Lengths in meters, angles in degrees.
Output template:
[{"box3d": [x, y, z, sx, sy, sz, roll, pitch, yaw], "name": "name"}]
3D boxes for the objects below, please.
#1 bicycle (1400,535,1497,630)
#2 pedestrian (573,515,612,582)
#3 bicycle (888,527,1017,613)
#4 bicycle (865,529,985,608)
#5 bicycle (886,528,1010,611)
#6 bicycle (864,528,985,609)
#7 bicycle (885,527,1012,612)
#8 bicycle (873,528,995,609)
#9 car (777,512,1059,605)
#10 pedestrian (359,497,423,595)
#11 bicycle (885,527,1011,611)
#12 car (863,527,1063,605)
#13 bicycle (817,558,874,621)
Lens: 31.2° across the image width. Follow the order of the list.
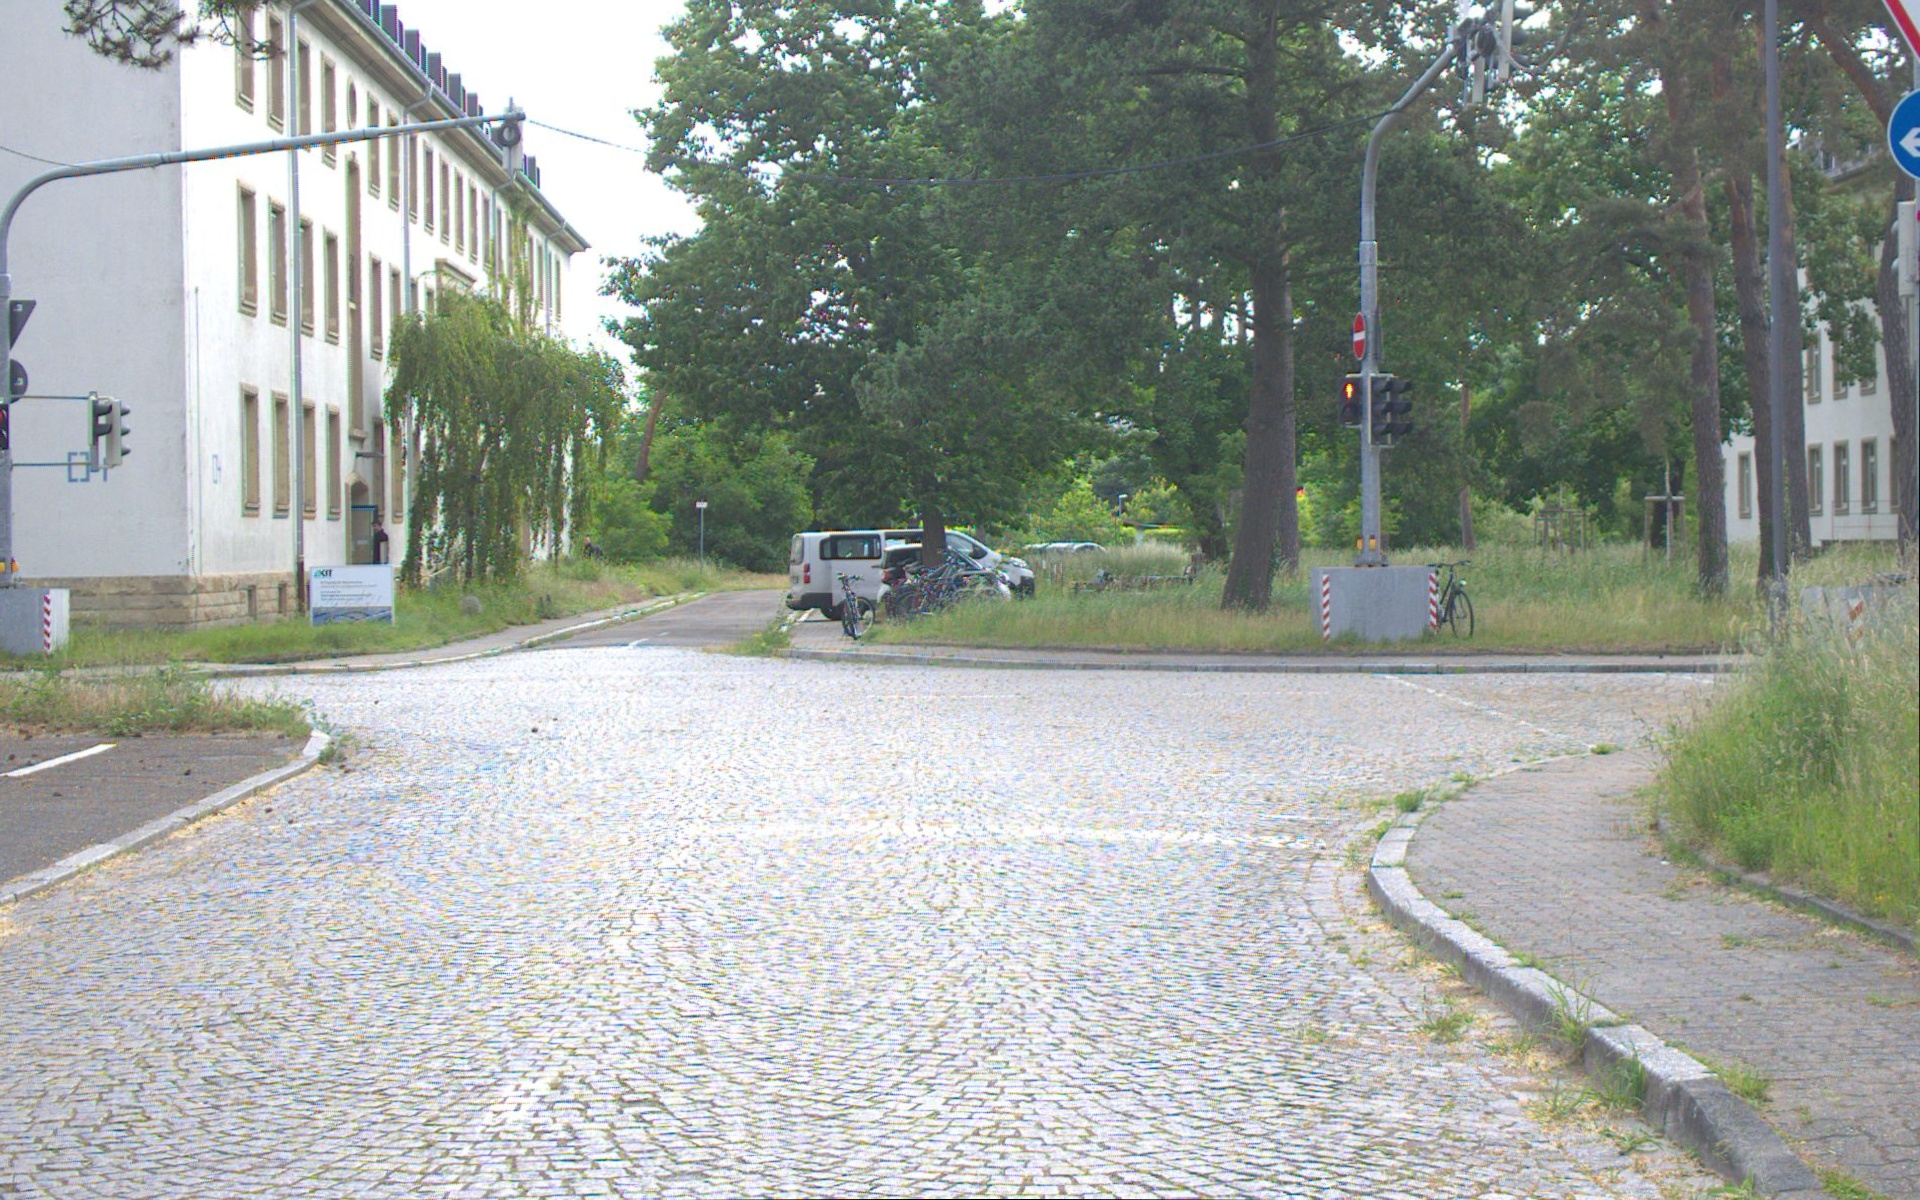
[{"box3d": [6.183, -0.237, 43.630, 0.908, 1.173, 1.874, 0, 1, -2], "name": "bicycle"}, {"box3d": [-11.017, -1.543, 103.020, 0.959, 2.007, 0.795, 0, 1, 9], "name": "pedestrian"}, {"box3d": [-0.127, -0.494, 55.859, 2.070, 1.373, 0.620, 0, 1, 0], "name": "bicycle"}, {"box3d": [-0.610, -0.559, 60.232, 2.070, 1.373, 0.620, 0, 1, 0], "name": "bicycle"}, {"box3d": [-0.204, -0.521, 57.951, 2.070, 1.373, 0.620, 0, 1, 0], "name": "bicycle"}, {"box3d": [-0.610, -0.550, 59.485, 2.070, 1.373, 0.620, 0, 1, 0], "name": "bicycle"}, {"box3d": [-0.183, -0.504, 56.529, 2.070, 1.373, 0.620, 0, 1, 0], "name": "bicycle"}, {"box3d": [-0.446, -0.538, 58.748, 2.070, 1.373, 0.620, 0, 1, 0], "name": "bicycle"}, {"box3d": [-0.917, -0.905, 73.742, 5.690, 1.904, 2.231, -1, 1, -13], "name": "car"}, {"box3d": [-11.793, -1.122, 71.278, 1.087, 2.007, 1.021, 0, 1, 5], "name": "pedestrian"}, {"box3d": [-0.198, -0.512, 57.154, 2.070, 1.373, 0.620, 0, 1, 0], "name": "bicycle"}, {"box3d": [0.039, -0.700, 70.381, 3.932, 1.539, 2.000, 0, 1, -5], "name": "car"}, {"box3d": [-1.789, -0.177, 54.056, 0.618, 0.960, 2.076, 0, 1, 6], "name": "bicycle"}]
